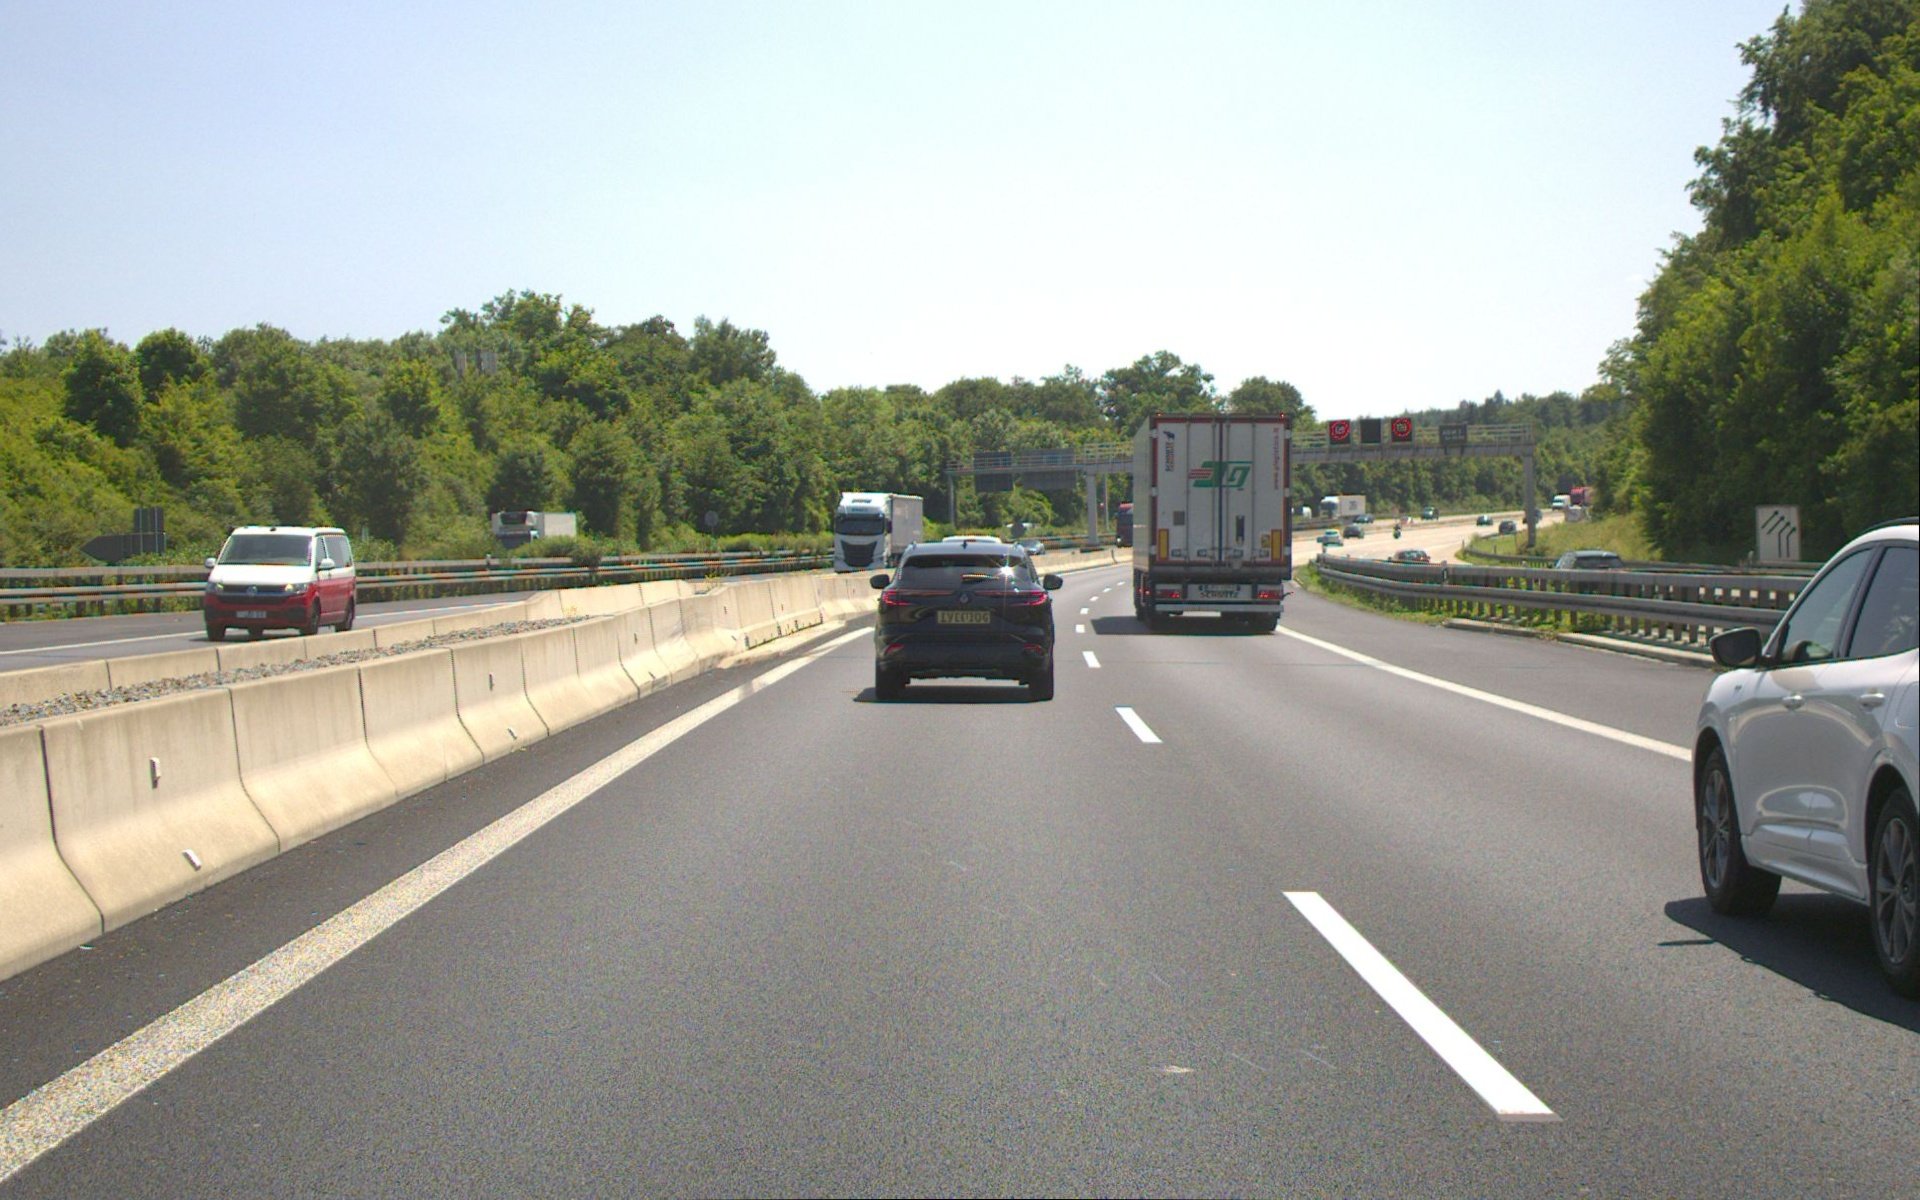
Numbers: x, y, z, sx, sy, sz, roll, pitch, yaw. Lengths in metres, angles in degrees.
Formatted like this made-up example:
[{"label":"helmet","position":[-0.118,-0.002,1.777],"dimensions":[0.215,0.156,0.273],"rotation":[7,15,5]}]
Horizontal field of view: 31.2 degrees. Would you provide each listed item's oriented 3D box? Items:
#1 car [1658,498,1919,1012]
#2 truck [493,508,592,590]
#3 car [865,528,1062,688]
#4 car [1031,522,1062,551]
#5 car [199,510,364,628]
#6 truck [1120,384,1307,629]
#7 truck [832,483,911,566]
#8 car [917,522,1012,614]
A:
[{"label":"car","position":[4.076,0.495,12.829],"dimensions":[1.993,1.656,4.468],"rotation":[0,0,-1]},{"label":"truck","position":[-20.776,-2.488,171.680],"dimensions":[2.698,3.946,10.775],"rotation":[0,0,5]},{"label":"car","position":[-0.018,0.070,35.794],"dimensions":[1.779,1.572,4.000],"rotation":[0,0,-4]},{"label":"car","position":[5.990,-4.423,238.834],"dimensions":[1.993,2.007,4.000],"rotation":[0,1,-1]},{"label":"car","position":[-12.009,-0.534,61.178],"dimensions":[1.993,2.007,5.380],"rotation":[0,0,-1]},{"label":"truck","position":[4.836,-1.705,67.840],"dimensions":[3.032,4.403,12.018],"rotation":[0,0,1]},{"label":"truck","position":[-4.373,-3.727,172.000],"dimensions":[2.698,3.946,10.775],"rotation":[0,0,5]},{"label":"car","position":[0.075,-0.765,80.649],"dimensions":[1.993,2.007,4.000],"rotation":[-3,1,-2]}]
